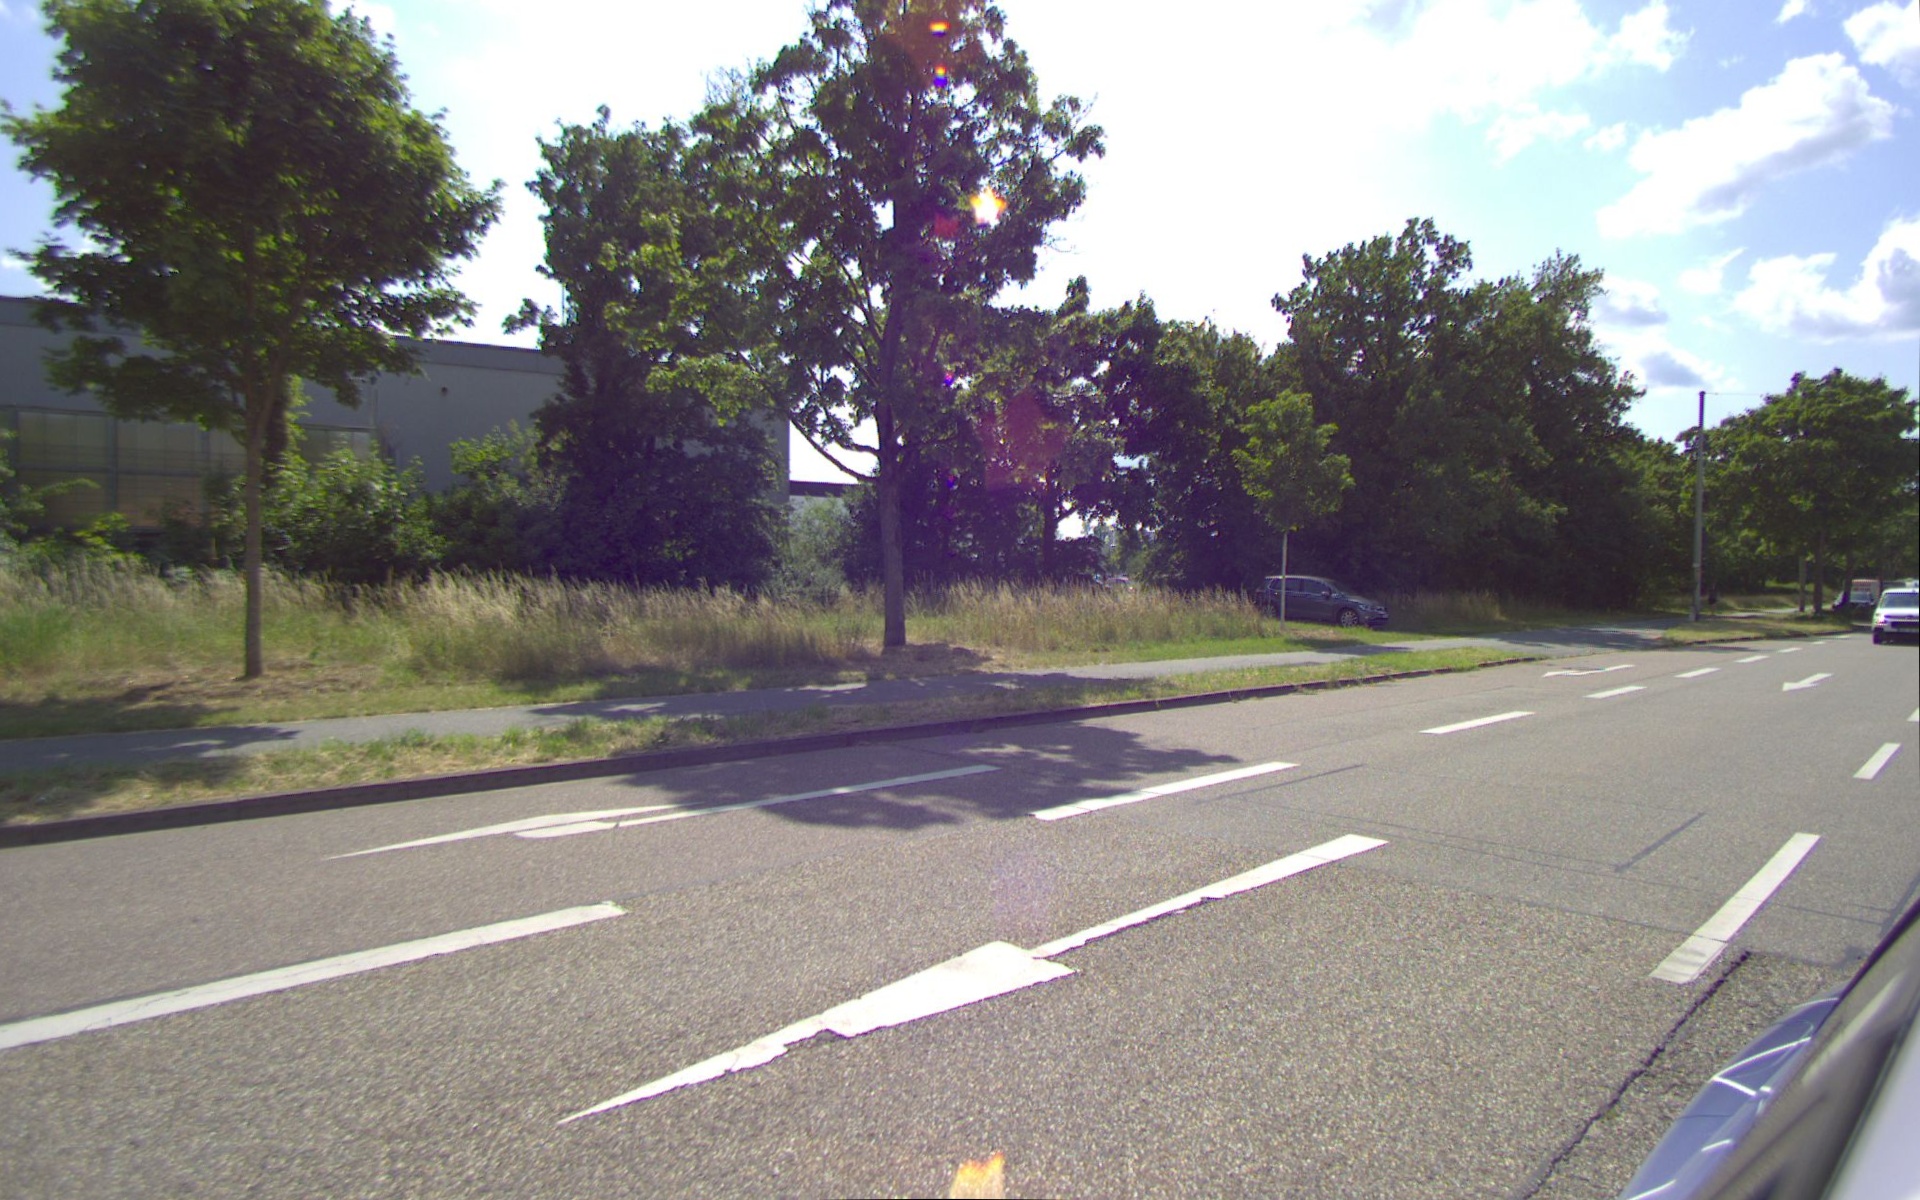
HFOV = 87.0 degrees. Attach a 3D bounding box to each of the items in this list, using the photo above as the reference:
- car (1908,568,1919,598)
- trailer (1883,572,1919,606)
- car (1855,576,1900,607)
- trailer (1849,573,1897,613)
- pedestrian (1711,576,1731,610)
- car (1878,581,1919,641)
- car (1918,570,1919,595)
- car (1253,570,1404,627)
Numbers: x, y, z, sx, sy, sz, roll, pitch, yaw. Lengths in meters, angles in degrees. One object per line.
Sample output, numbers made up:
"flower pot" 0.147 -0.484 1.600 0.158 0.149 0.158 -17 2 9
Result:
"car" 93.998 -1.645 98.387 6.657 2.836 2.259 -2 5 -44
"trailer" 73.407 -0.895 78.634 4.702 2.393 1.997 -2 6 -43
"car" 54.401 -0.555 60.004 4.289 1.711 1.593 -2 3 -43
"trailer" 58.409 -0.501 64.698 4.531 2.380 1.954 -1 3 -45
"pedestrian" 40.879 -0.389 54.374 0.728 1.816 0.717 -1 0 -44
"car" 30.516 0.313 31.870 4.635 1.808 1.933 0 -1 -42
"car" 103.149 -1.849 107.084 6.657 2.571 2.259 -2 4 -44
"car" 11.862 -0.080 32.725 4.165 1.511 1.756 6 3 44
